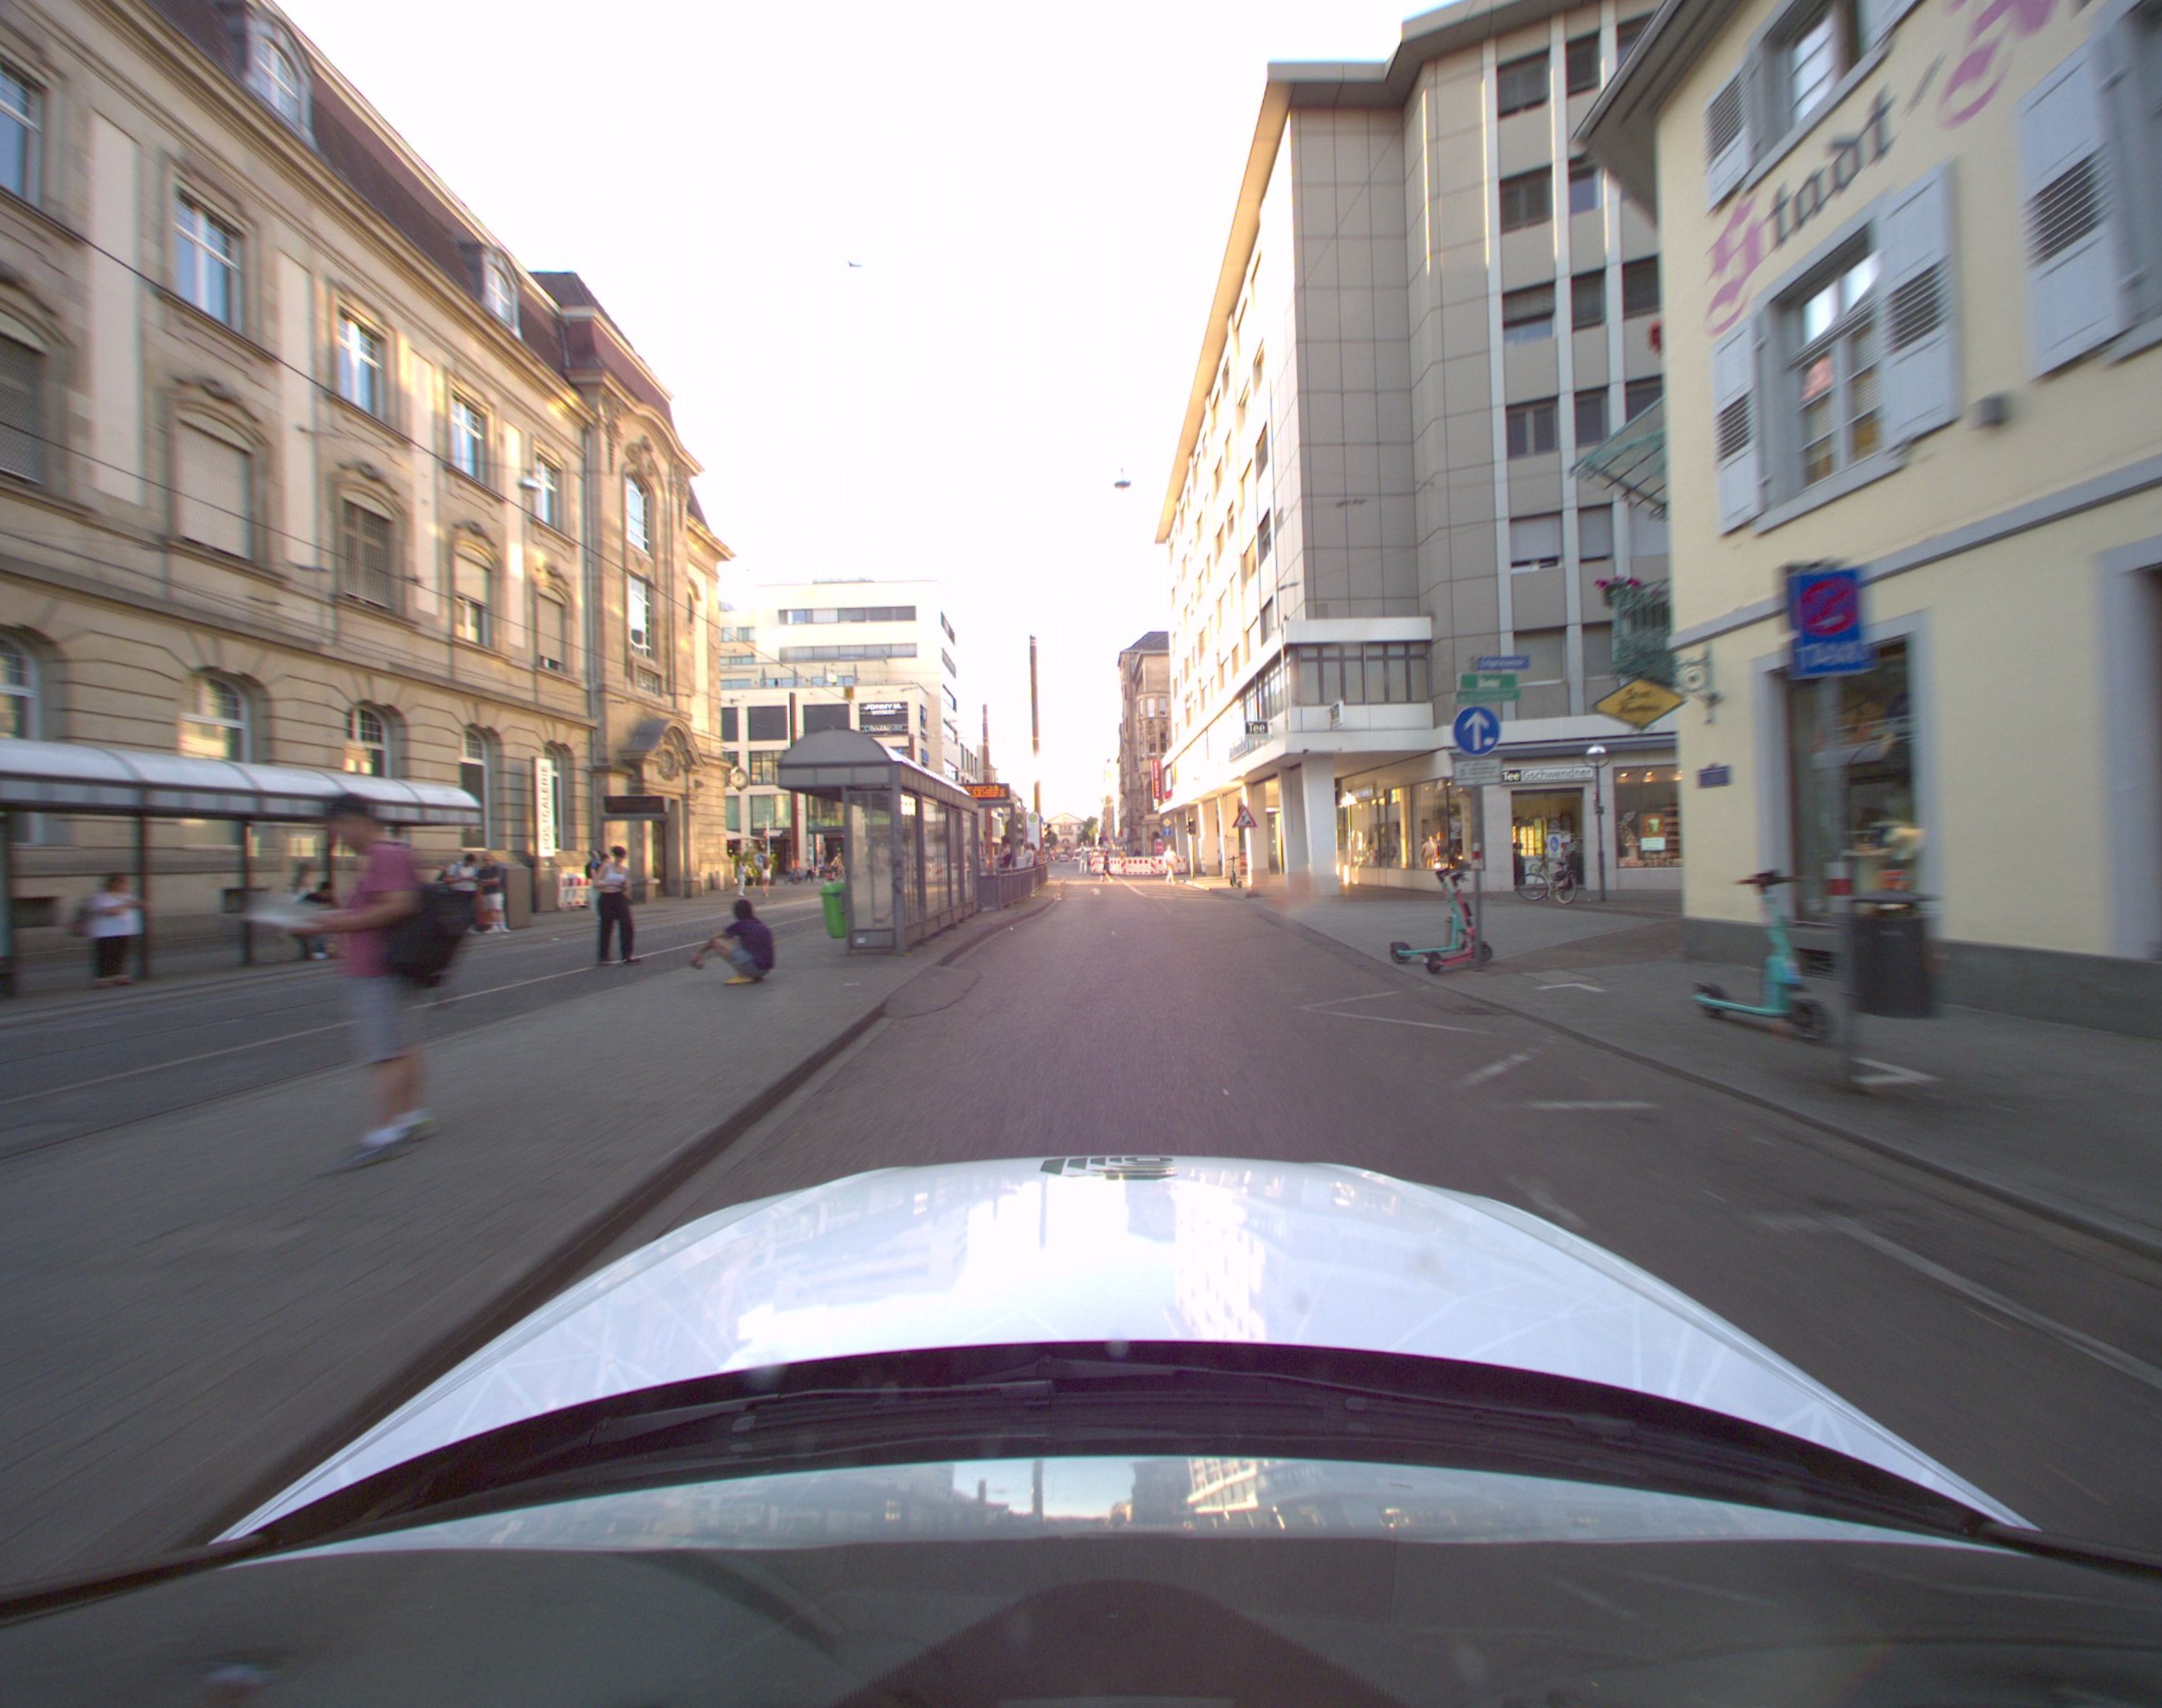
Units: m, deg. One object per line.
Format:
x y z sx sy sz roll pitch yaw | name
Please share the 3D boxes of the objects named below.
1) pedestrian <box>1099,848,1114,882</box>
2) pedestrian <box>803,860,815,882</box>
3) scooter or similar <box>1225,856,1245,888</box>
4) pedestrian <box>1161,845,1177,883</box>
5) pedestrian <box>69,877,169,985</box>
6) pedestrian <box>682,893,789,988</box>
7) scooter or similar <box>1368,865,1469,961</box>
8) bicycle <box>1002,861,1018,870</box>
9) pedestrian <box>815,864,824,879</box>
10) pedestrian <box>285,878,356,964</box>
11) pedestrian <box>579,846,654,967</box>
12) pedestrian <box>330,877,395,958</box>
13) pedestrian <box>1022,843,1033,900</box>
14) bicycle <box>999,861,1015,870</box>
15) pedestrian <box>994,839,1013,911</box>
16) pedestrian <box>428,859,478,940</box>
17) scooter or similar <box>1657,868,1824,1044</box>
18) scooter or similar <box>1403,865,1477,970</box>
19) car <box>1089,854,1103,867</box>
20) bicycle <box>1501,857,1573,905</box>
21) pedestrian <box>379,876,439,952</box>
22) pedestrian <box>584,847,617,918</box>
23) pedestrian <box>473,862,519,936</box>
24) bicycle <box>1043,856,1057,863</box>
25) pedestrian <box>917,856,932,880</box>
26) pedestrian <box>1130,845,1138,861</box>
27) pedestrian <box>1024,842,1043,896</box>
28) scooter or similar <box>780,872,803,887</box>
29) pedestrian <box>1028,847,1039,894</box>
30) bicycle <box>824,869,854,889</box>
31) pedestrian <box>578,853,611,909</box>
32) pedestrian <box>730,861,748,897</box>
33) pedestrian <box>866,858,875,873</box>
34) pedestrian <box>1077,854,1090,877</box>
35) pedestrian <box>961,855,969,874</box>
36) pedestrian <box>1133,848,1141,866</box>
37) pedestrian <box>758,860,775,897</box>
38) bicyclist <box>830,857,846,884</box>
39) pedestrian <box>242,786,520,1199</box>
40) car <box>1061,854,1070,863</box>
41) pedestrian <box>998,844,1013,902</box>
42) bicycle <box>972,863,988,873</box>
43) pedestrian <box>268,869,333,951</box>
1.303 0.547 41.300 0.699 1.693 0.539 0 -1 -8 | pedestrian
-17.685 1.126 52.996 0.636 1.420 0.418 -1 0 1 | pedestrian
6.009 0.693 31.834 0.503 1.234 1.179 -2 0 -1 | scooter or similar
4.221 0.490 39.000 0.695 1.815 0.854 0 -1 8 | pedestrian
-12.328 0.970 10.452 0.515 1.327 0.638 -1 -1 3 | pedestrian
-3.736 0.913 8.829 0.791 0.939 0.697 -1 0 22 | pedestrian
4.558 0.798 11.042 1.167 1.234 0.317 -3 -1 15 | scooter or similar
-9.069 1.469 104.272 1.979 1.122 0.553 0 -1 -30 | bicycle
-17.048 1.123 53.087 0.420 0.965 0.418 -1 0 1 | pedestrian
-12.190 1.055 13.064 0.515 1.327 0.638 -1 -1 3 | pedestrian
-6.751 0.747 11.849 0.668 1.691 0.641 -2 -1 22 | pedestrian
-12.192 1.062 13.831 0.515 1.327 0.638 -1 -1 3 | pedestrian
-1.708 0.562 26.178 0.341 1.796 0.544 0 -1 -2 | pedestrian
-9.553 1.478 104.920 1.979 1.122 0.553 0 -1 -30 | bicycle
-1.933 0.523 20.345 0.411 1.767 0.594 0 -1 -2 | pedestrian
-13.095 0.938 16.985 0.515 1.646 0.638 -1 -1 3 | pedestrian
5.192 0.744 6.498 0.270 1.234 1.309 -3 -1 4 | scooter or similar
4.568 0.778 10.344 1.051 1.234 0.269 -2 -1 -33 | scooter or similar
1.992 0.876 107.967 1.674 1.547 3.671 -3 -1 -1 | car
10.941 0.620 19.617 0.766 1.028 1.848 0 2 3 | bicycle
-12.120 1.070 14.703 0.515 1.327 0.638 -1 -1 3 | pedestrian
-12.307 0.726 20.871 0.558 1.776 0.468 -1 0 -5 | pedestrian
-12.749 0.959 17.756 0.515 1.569 0.638 -1 -1 3 | pedestrian
-4.941 0.932 131.346 2.140 1.029 0.640 -2 -1 1 | bicycle
-10.846 0.956 56.343 0.825 1.614 0.687 -2 0 -26 | pedestrian
5.404 -0.071 83.077 0.709 1.611 0.821 0 -1 -3 | pedestrian
-1.554 0.493 26.920 0.537 1.767 0.595 0 -1 5 | pedestrian
-18.530 1.646 52.099 1.087 0.904 0.892 -2 0 8 | scooter or similar
-1.671 0.582 28.465 0.356 1.642 0.502 0 -1 -2 | pedestrian
-14.470 1.489 48.690 1.619 1.103 0.628 -2 -1 -9 | bicycle
-15.479 0.848 25.937 0.619 1.776 0.705 -1 0 -4 | pedestrian
-14.597 1.063 34.781 0.498 1.525 0.520 -1 0 0 | pedestrian
-21.774 1.162 84.227 0.569 1.526 0.793 -1 -1 11 | pedestrian
0.165 0.854 62.323 0.860 1.761 0.770 -1 -1 11 | pedestrian
-10.424 0.969 73.322 0.527 1.674 0.651 -2 0 0 | pedestrian
5.444 0.290 78.907 0.623 1.690 0.670 -2 -1 -3 | pedestrian
-13.091 1.002 33.907 0.525 1.525 0.501 -1 0 -7 | pedestrian
-14.506 0.998 48.699 0.789 1.593 0.608 -2 -1 -8 | bicyclist
-3.239 0.549 3.789 0.679 1.638 0.866 -1 0 40 | pedestrian
-3.504 1.086 180.829 1.988 1.904 3.998 0 -1 -1 | car
-2.162 0.539 23.352 0.384 1.642 0.549 0 -1 -2 | pedestrian
-10.722 1.474 86.342 1.689 1.122 0.451 0 -1 1 | bicycle
-15.790 1.123 16.492 0.697 1.614 0.630 0 -1 -2 | pedestrian
